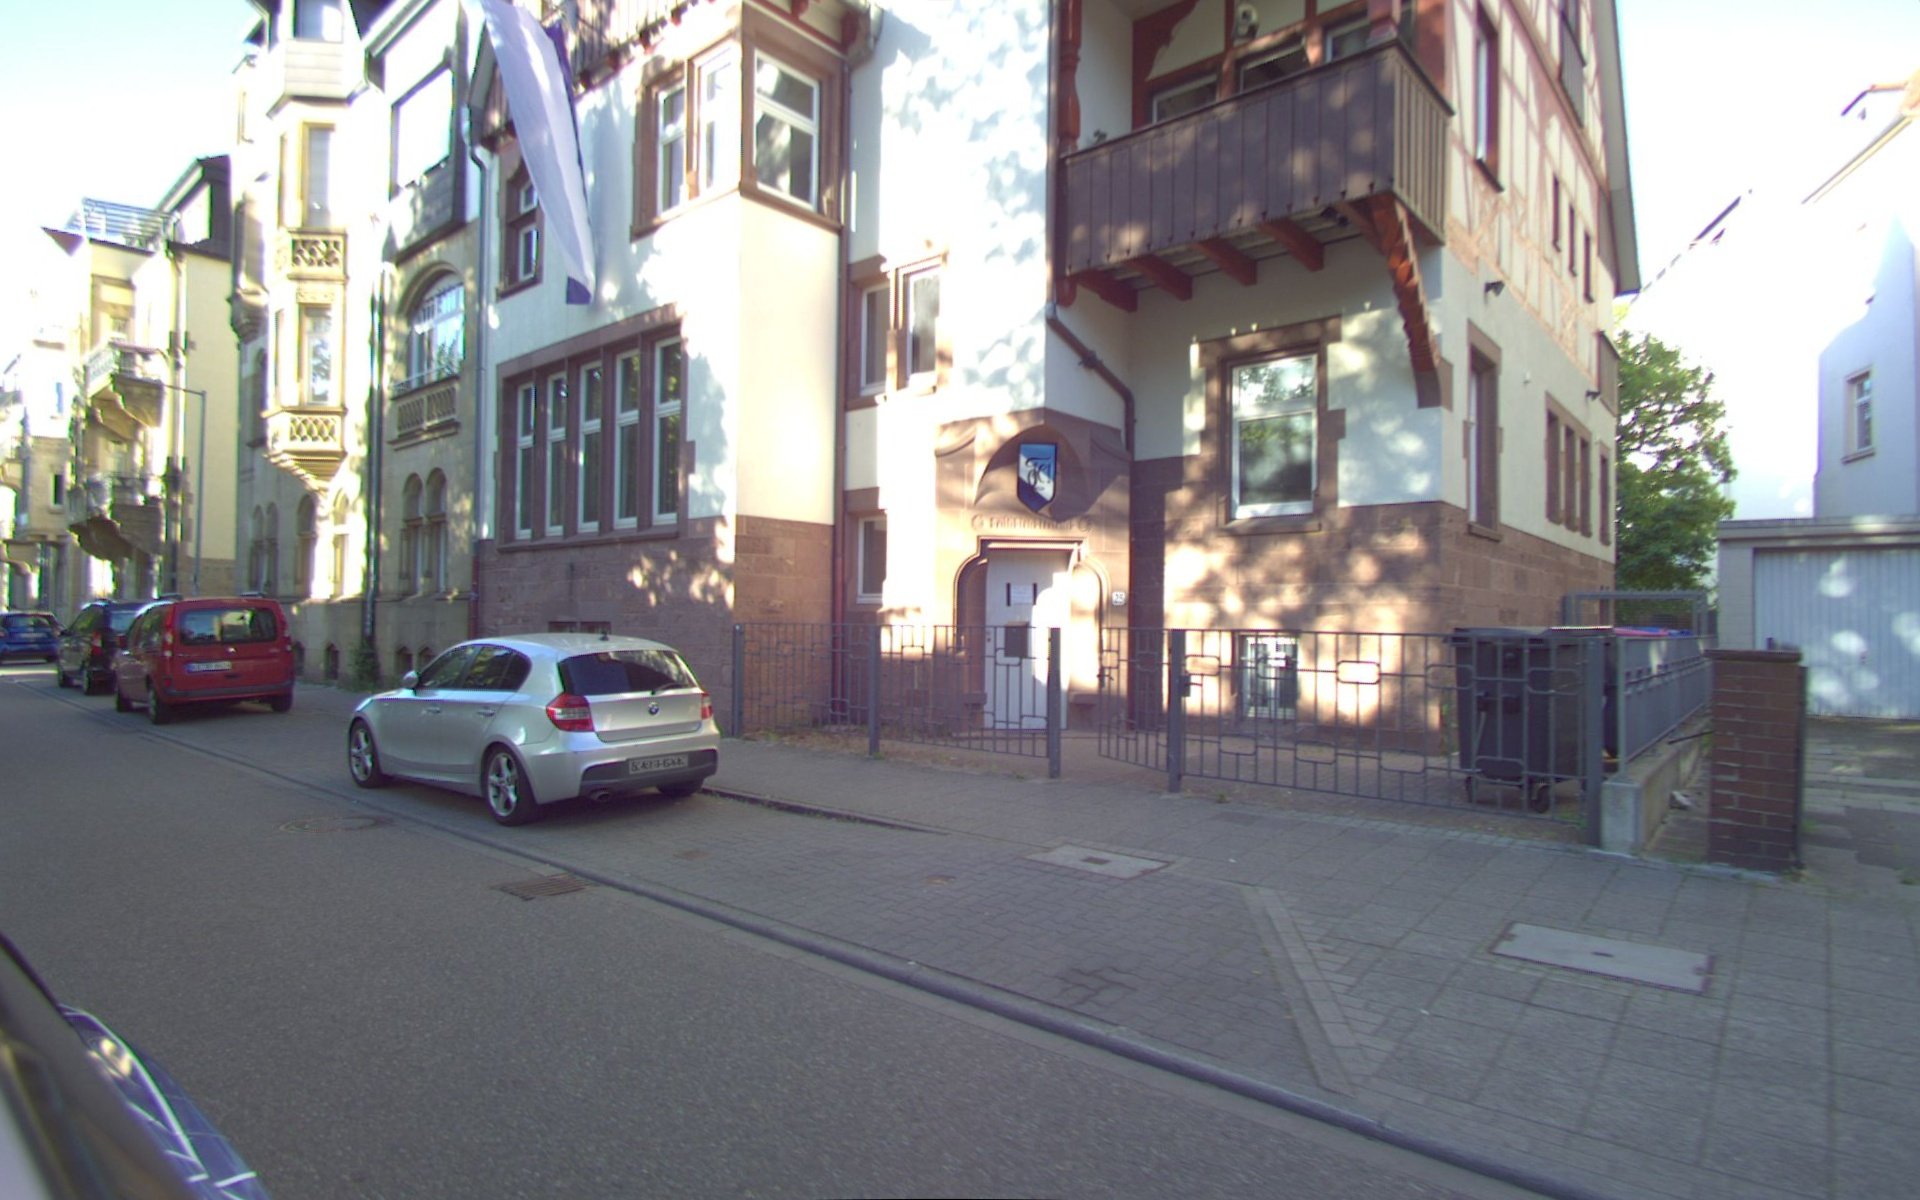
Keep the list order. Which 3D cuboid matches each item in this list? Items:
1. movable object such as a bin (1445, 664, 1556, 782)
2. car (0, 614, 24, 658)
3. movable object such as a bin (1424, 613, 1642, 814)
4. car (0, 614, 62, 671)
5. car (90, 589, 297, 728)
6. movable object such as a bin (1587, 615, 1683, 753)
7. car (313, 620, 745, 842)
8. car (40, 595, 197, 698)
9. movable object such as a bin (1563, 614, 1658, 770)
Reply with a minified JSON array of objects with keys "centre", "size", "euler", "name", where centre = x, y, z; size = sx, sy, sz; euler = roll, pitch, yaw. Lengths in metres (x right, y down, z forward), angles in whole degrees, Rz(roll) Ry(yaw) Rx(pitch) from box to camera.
[{"centre":[4.435,0.986,8.315],"size":[0.474,0.885,0.674],"euler":[1,-1,-40],"name":"movable object such as a bin"},{"centre":[-33.976,1.251,34.951],"size":[4.539,1.449,1.881],"euler":[-1,2,41],"name":"car"},{"centre":[4.203,0.755,7.416],"size":[1.358,1.309,0.970],"euler":[1,-1,-40],"name":"movable object such as a bin"},{"centre":[-27.273,1.209,29.171],"size":[2.859,1.520,1.666],"euler":[-1,2,41],"name":"car"},{"centre":[-12.236,0.823,16.053],"size":[4.322,1.921,1.780],"euler":[-1,0,41],"name":"car"},{"centre":[6.906,0.812,10.340],"size":[0.631,1.320,1.188],"euler":[-1,-2,42],"name":"movable object such as a bin"},{"centre":[-3.851,0.914,8.748],"size":[4.098,1.477,1.727],"euler":[-1,-1,39],"name":"car"},{"centre":[-17.159,0.881,20.561],"size":[4.539,1.866,1.751],"euler":[-1,-1,41],"name":"car"},{"centre":[6.044,0.798,9.409],"size":[0.685,1.327,1.368],"euler":[-1,-1,33],"name":"movable object such as a bin"}]
